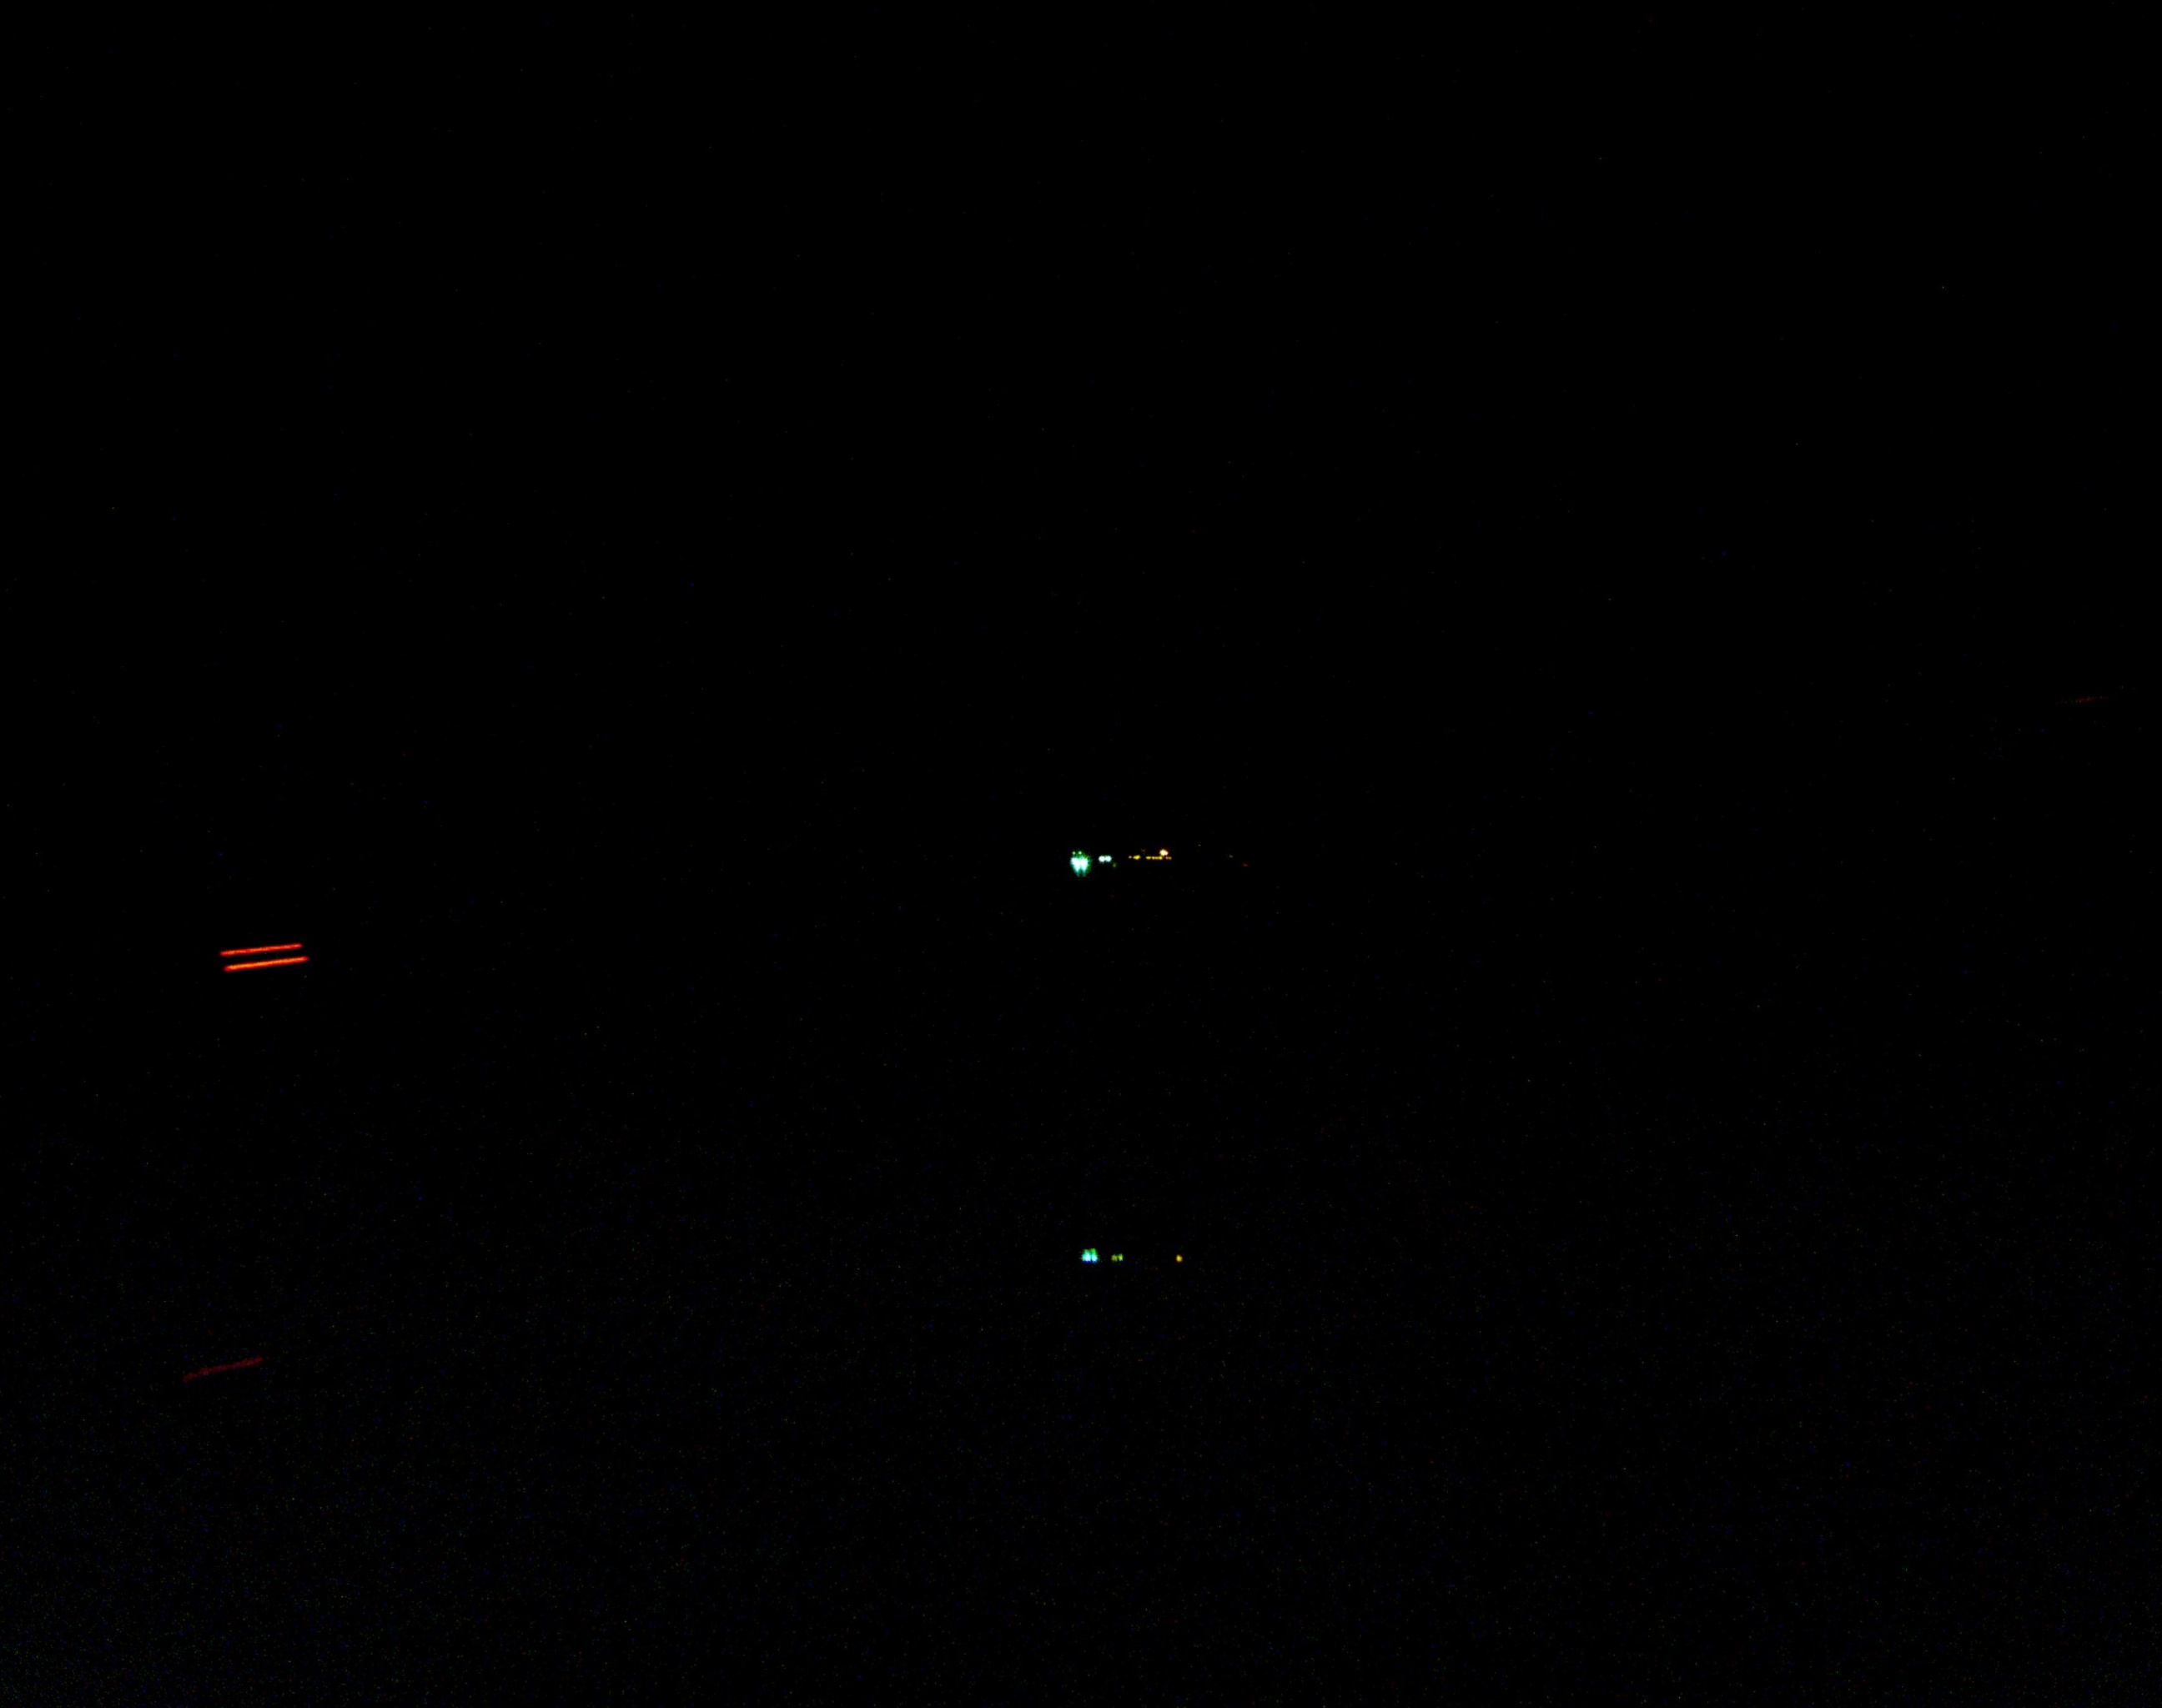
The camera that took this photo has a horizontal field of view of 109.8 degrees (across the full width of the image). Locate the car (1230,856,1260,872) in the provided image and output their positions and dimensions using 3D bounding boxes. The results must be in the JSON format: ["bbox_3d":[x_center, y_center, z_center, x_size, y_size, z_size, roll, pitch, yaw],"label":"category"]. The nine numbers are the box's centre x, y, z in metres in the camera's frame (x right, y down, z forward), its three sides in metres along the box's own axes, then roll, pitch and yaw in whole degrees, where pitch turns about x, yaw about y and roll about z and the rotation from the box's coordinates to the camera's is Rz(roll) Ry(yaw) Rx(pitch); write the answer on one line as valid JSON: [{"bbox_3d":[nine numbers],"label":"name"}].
[{"bbox_3d":[16.062,0.963,74.653,1.825,1.457,4.559,2,0,0],"label":"car"}]

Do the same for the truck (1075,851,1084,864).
[{"bbox_3d":[-0.388,1.196,249.914,2.749,4.182,13.509,-3,0,0],"label":"truck"}]

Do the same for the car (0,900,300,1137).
[{"bbox_3d":[-8.122,1.192,4.864,1.826,1.457,4.247,-3,0,-1],"label":"car"}]

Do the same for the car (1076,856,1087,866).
[{"bbox_3d":[0.114,1.485,164.542,2.267,1.842,5.403,-3,0,0],"label":"car"}]
